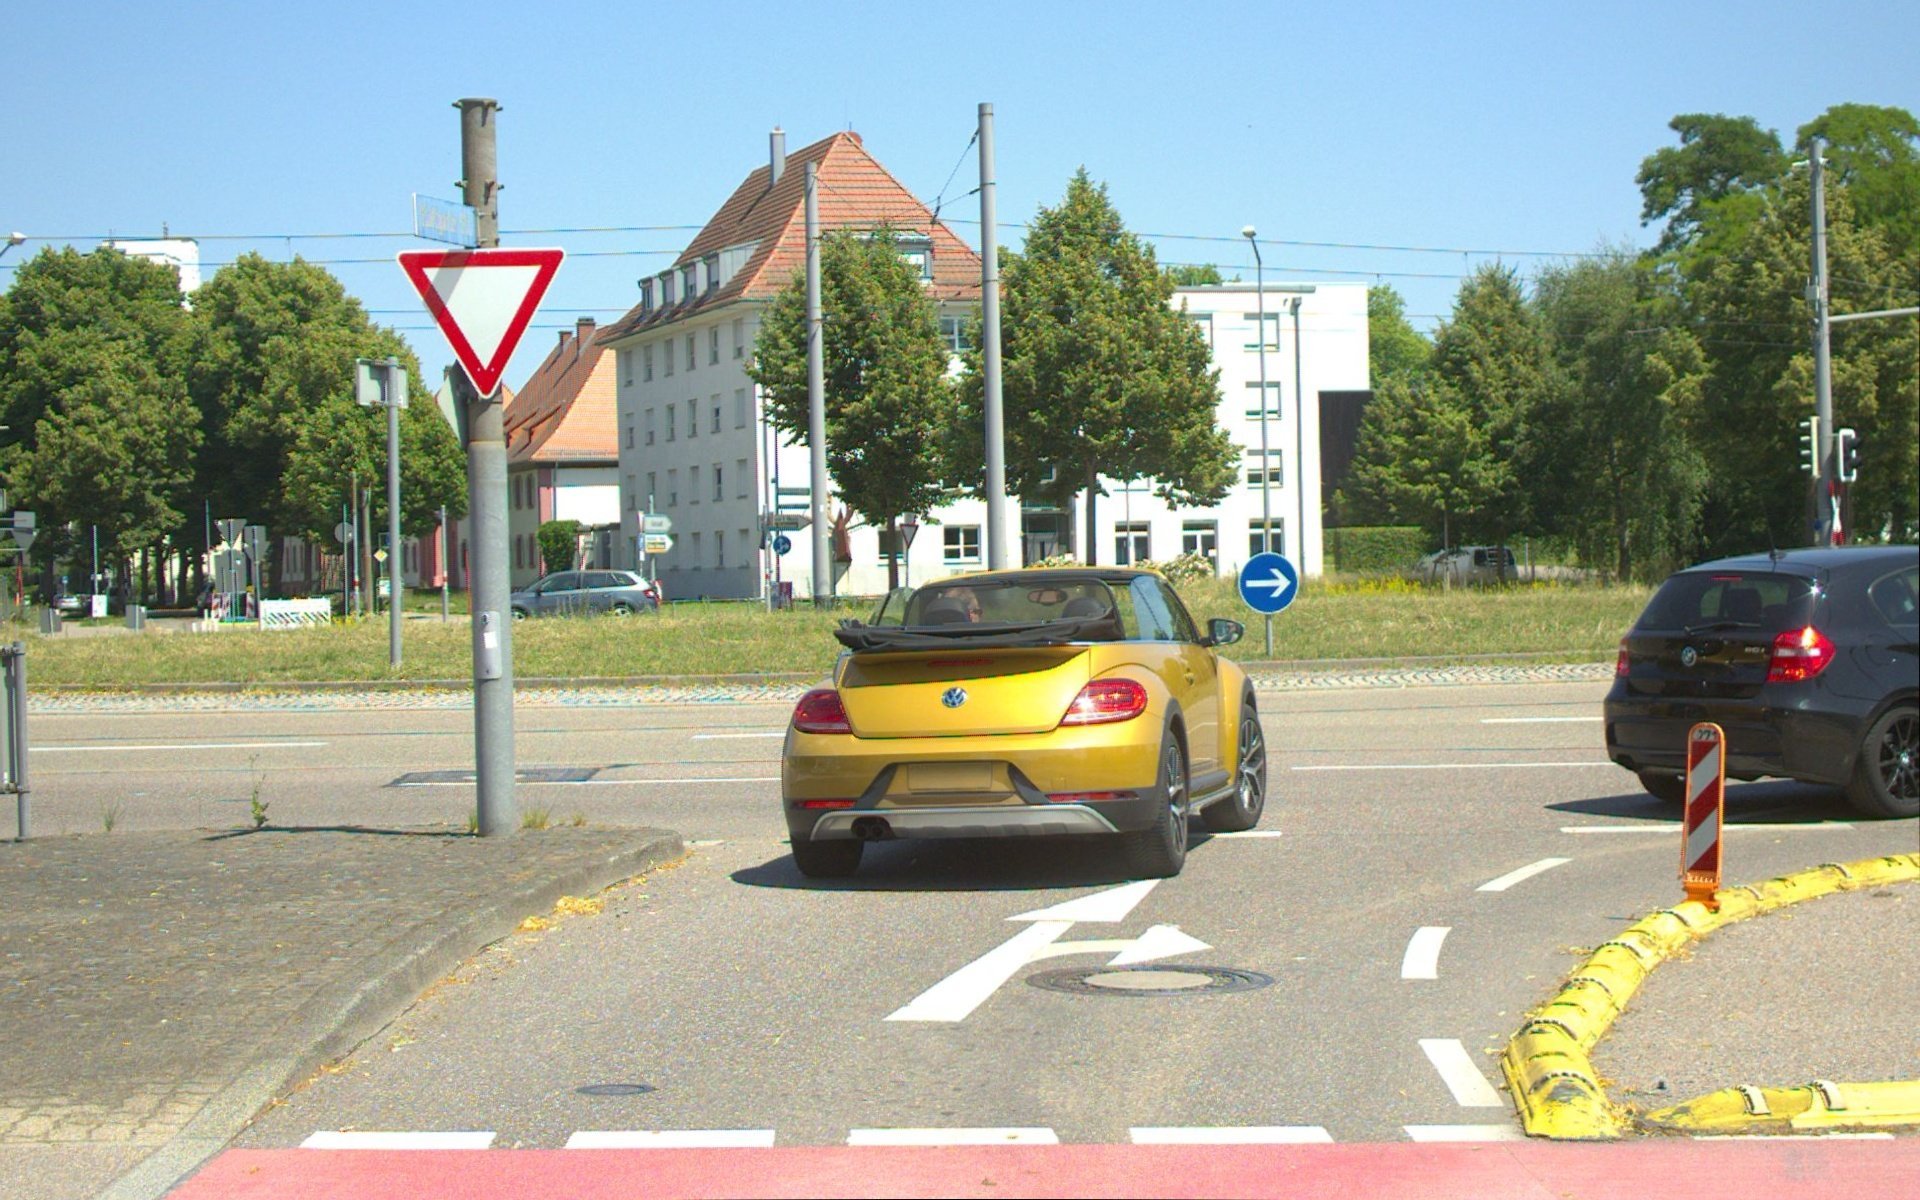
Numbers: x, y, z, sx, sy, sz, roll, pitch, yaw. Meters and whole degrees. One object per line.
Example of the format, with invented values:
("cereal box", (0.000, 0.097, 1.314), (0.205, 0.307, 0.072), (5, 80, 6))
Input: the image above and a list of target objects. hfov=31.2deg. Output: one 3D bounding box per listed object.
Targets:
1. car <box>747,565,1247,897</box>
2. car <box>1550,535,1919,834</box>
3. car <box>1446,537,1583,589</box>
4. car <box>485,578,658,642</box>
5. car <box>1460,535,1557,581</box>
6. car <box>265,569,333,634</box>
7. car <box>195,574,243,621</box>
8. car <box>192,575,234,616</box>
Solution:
("car", (0.301, 0.550, 16.765), (1.826, 1.398, 3.660), (0, 1, 11))
("car", (5.396, 0.377, 19.080), (3.987, 1.435, 1.803), (-2, 2, -32))
("car", (18.143, -1.199, 112.610), (3.986, 1.678, 2.001), (0, 0, -12))
("car", (-9.105, 0.225, 80.588), (3.986, 1.459, 2.000), (0, 0, -6))
("car", (23.899, -1.812, 149.833), (3.990, 2.007, 1.999), (0, 0, 16))
("car", (-20.699, 0.043, 107.570), (1.993, 2.007, 4.001), (0, 0, -12))
("car", (-31.945, -0.128, 148.174), (1.993, 2.007, 4.001), (0, 0, -12))
("car", (-36.941, -0.225, 169.941), (1.993, 2.007, 4.001), (0, 0, -12))
